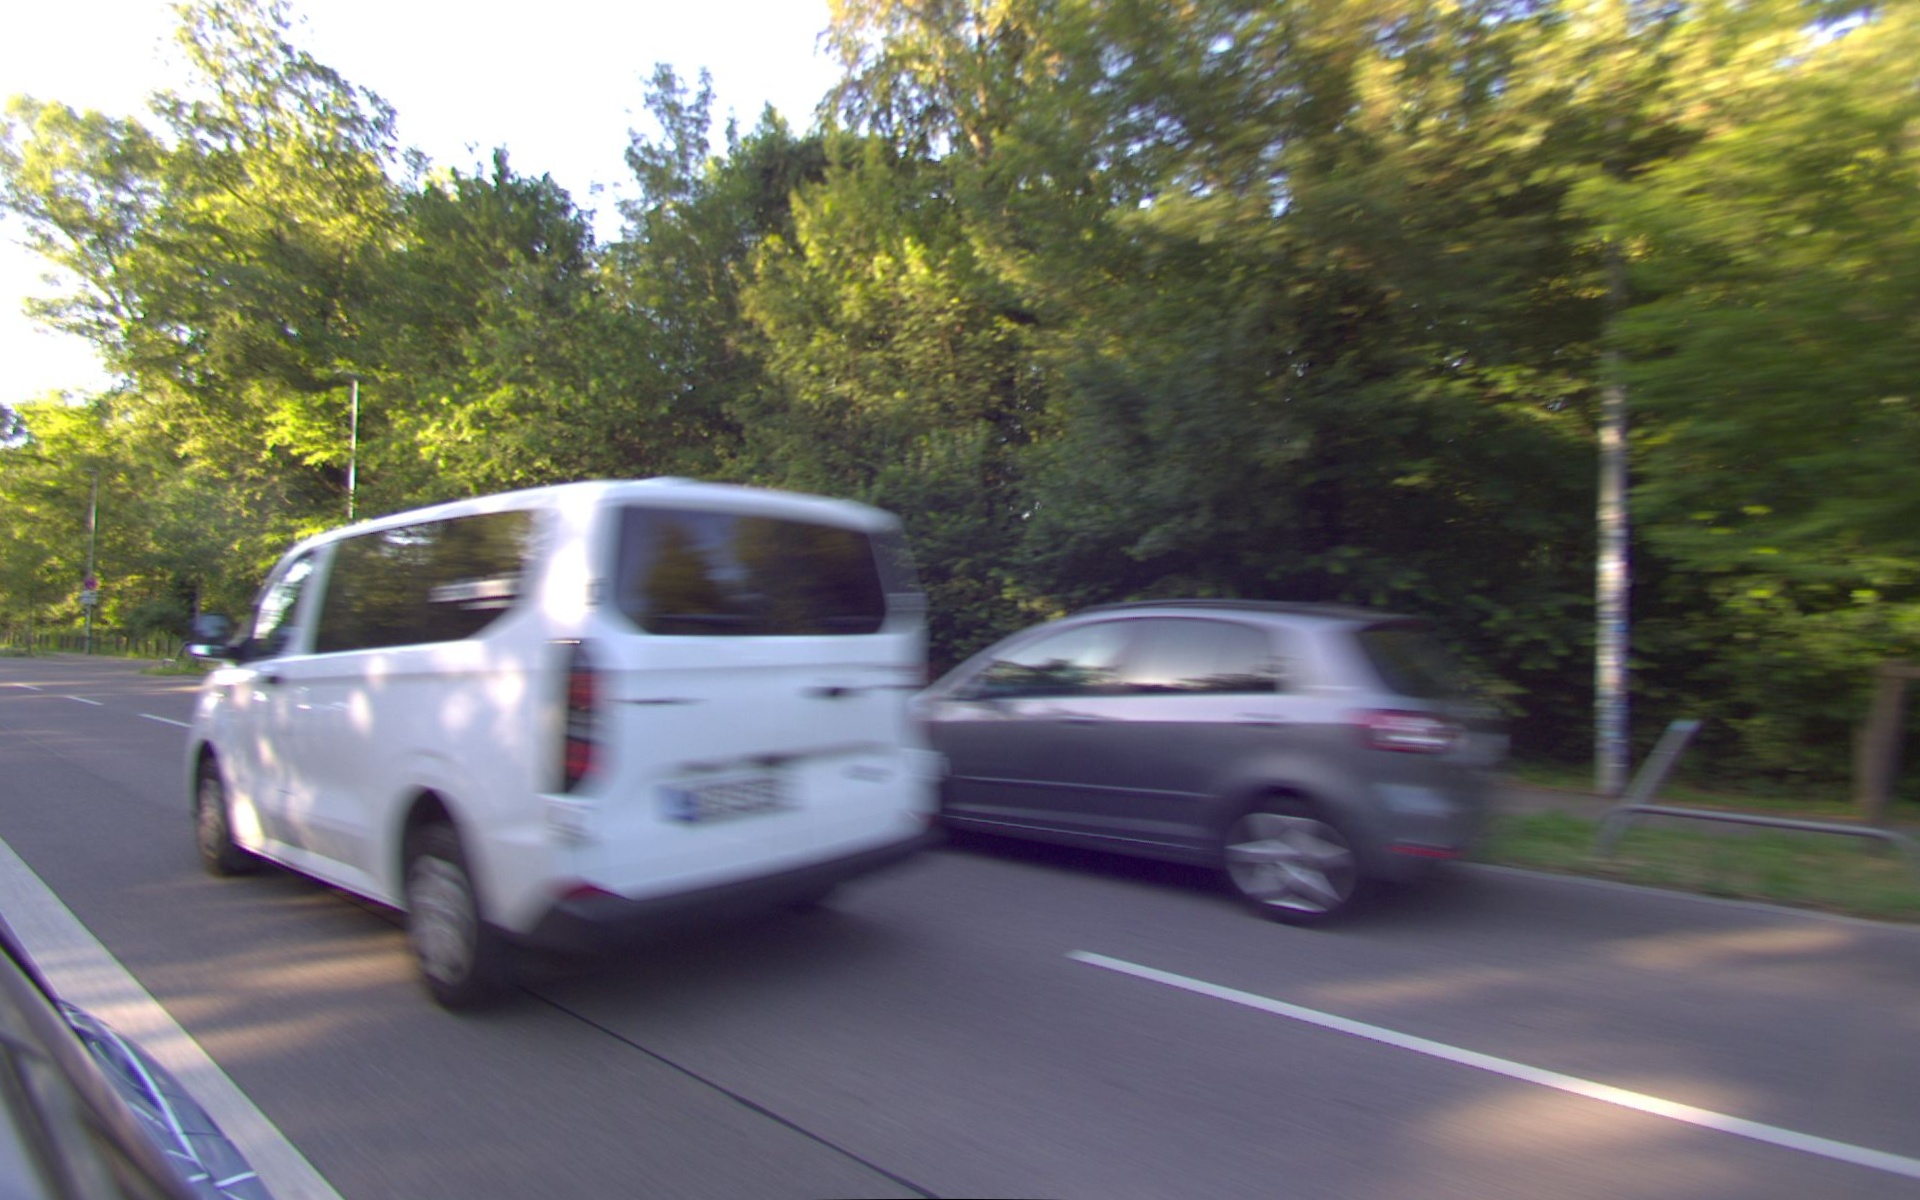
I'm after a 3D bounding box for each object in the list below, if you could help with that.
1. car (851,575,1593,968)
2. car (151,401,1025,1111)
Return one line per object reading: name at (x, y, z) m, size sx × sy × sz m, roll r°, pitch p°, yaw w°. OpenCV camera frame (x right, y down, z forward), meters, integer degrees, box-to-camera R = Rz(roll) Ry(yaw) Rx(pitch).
car at (1.361, 0.744, 6.149) m, size 3.997 × 1.612 × 1.782 m, roll -1°, pitch -1°, yaw 40°
car at (-2.270, 0.466, 5.270) m, size 4.910 × 1.976 × 2.183 m, roll -1°, pitch -1°, yaw 41°
